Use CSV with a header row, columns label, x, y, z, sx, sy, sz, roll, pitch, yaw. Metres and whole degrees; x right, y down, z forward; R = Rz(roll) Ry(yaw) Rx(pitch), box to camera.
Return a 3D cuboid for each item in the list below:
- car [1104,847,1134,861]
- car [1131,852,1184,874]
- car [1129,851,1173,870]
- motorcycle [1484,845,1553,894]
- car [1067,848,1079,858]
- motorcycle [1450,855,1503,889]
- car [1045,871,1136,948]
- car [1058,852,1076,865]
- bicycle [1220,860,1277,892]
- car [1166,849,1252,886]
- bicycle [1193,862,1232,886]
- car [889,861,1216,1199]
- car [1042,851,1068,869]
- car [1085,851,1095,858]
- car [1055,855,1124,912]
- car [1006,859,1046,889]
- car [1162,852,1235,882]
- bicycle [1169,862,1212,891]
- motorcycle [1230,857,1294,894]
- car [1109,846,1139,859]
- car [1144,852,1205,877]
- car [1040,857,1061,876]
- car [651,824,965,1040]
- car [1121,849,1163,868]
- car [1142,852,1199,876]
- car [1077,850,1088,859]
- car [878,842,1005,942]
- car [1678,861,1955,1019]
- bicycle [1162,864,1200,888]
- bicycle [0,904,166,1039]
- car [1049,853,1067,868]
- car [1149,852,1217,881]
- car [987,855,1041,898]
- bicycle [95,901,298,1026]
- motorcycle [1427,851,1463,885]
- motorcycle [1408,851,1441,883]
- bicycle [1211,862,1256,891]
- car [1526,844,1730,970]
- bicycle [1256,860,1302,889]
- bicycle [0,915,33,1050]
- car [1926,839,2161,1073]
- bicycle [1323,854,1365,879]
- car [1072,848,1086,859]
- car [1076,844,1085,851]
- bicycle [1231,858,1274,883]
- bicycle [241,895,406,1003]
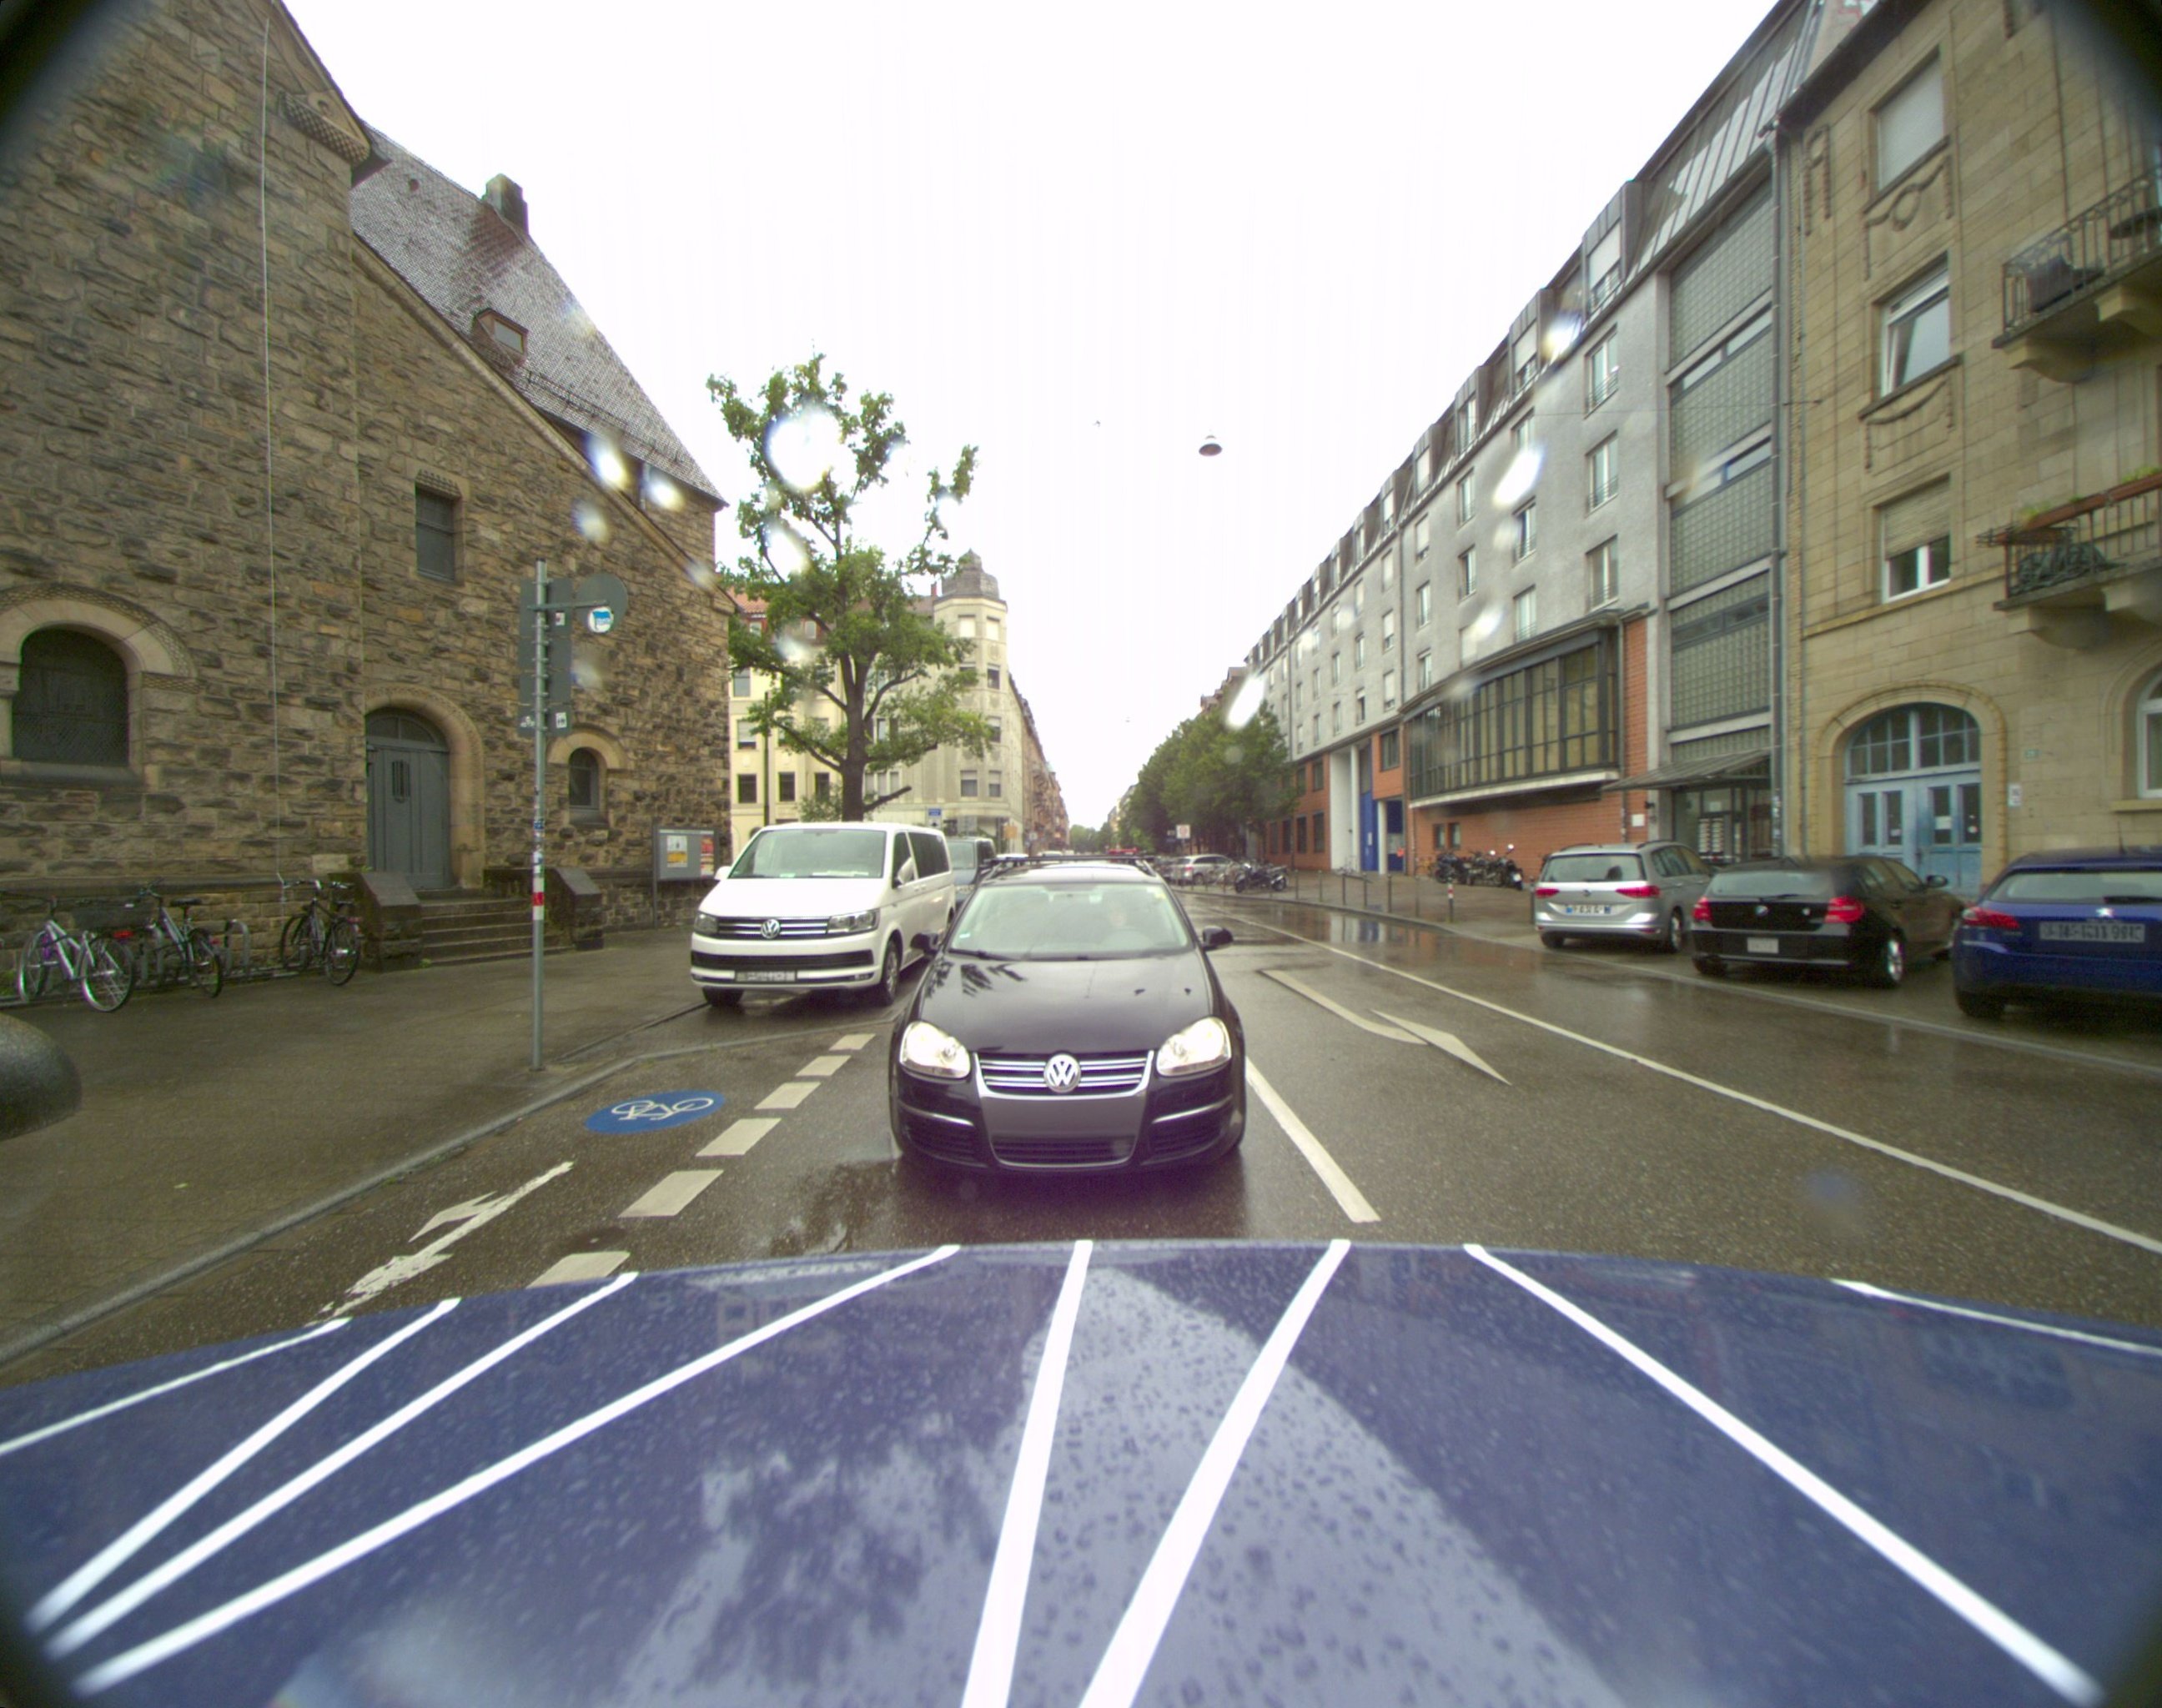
label,x,y,z,sx,sy,sz,roll,pitch,yaw
car,4.884,-0.005,97.852,3.799,1.705,2.000,0,0,1
car,6.007,0.721,60.142,3.803,1.705,1.998,0,0,-10
car,6.584,0.604,72.084,3.803,1.705,1.904,0,0,-10
motorcycle,13.452,0.453,23.460,0.777,1.454,2.362,0,0,1
car,-1.435,-0.222,139.213,1.998,1.705,3.803,0,0,5
motorcycle,13.542,0.602,26.088,0.599,1.095,2.362,0,0,1
car,0.182,0.988,14.799,1.547,1.214,3.608,0,0,1
car,-1.597,0.517,90.486,1.998,1.576,4.000,0,0,1
bicycle,6.685,0.868,30.324,2.049,1.165,0.773,-3,1,-2
car,6.638,0.654,39.451,4.005,1.804,1.996,0,1,-26
bicycle,6.074,0.937,35.053,1.688,1.067,0.544,-1,1,-2
car,-0.106,0.855,5.637,1.547,1.553,4.070,0,0,1
car,-2.046,0.457,61.507,1.921,1.470,4.221,0,0,1
car,2.110,0.089,175.401,1.998,1.705,4.376,0,0,5
car,0.241,0.750,21.288,1.766,1.430,3.748,0,0,1
car,-2.488,0.906,35.162,1.558,1.285,3.662,0,0,1
car,6.797,0.738,44.168,3.803,1.705,1.998,0,0,-10
bicycle,4.727,0.960,32.808,1.688,1.067,0.544,-6,1,-2
motorcycle,6.991,0.811,29.353,2.255,1.302,0.758,-2,1,1
car,6.173,-0.223,108.278,3.809,1.705,1.995,0,1,-33
car,6.468,0.731,52.833,3.803,1.705,1.998,0,0,-10
car,-2.148,0.894,54.346,1.356,1.285,3.013,0,0,1
car,-2.823,0.684,9.375,1.909,1.911,5.272,0,0,1
car,6.494,0.486,80.519,4.006,2.002,1.995,0,1,-28
car,6.592,0.741,56.251,3.803,1.705,1.998,0,0,-10
car,0.349,0.089,160.655,1.998,1.705,4.376,0,0,5
car,-2.772,0.697,16.102,1.837,1.835,4.295,0,0,1
car,9.032,0.869,9.267,3.734,1.518,1.713,0,1,-34
bicycle,4.751,1.027,36.009,1.688,1.067,0.544,2,1,-2
bicycle,-9.338,1.029,7.011,1.923,1.054,0.582,0,1,22
car,-1.968,0.541,65.795,1.356,1.285,3.013,0,0,1
car,6.298,0.756,47.246,3.803,1.705,1.998,0,0,-10
car,-2.497,0.810,29.158,1.674,1.540,3.918,0,0,1
bicycle,-8.929,1.046,7.660,2.150,1.054,0.679,0,1,22
motorcycle,13.542,0.511,28.301,0.546,1.221,1.676,0,0,1
motorcycle,13.572,0.490,30.067,0.546,1.221,1.676,0,0,1
bicycle,6.287,0.918,31.288,1.688,1.067,0.544,-3,1,-2
car,8.968,0.715,12.348,3.931,1.719,1.811,0,1,-41
bicycle,8.143,0.847,31.269,1.688,1.067,0.544,-3,1,-2
bicycle,-9.643,1.052,6.355,1.923,1.054,0.582,0,1,22
car,9.333,0.720,6.629,3.732,1.519,1.897,-4,2,-30
bicycle,13.460,0.630,38.895,1.901,1.217,0.938,0,1,26
car,-0.312,-0.109,125.136,1.998,1.705,3.803,0,0,5
car,-0.179,-1.587,183.682,1.837,1.827,4.001,0,0,5
bicycle,7.224,0.692,32.042,1.688,1.067,0.544,0,1,-2
bicycle,-8.572,1.027,8.590,1.978,1.060,0.607,0,1,23
